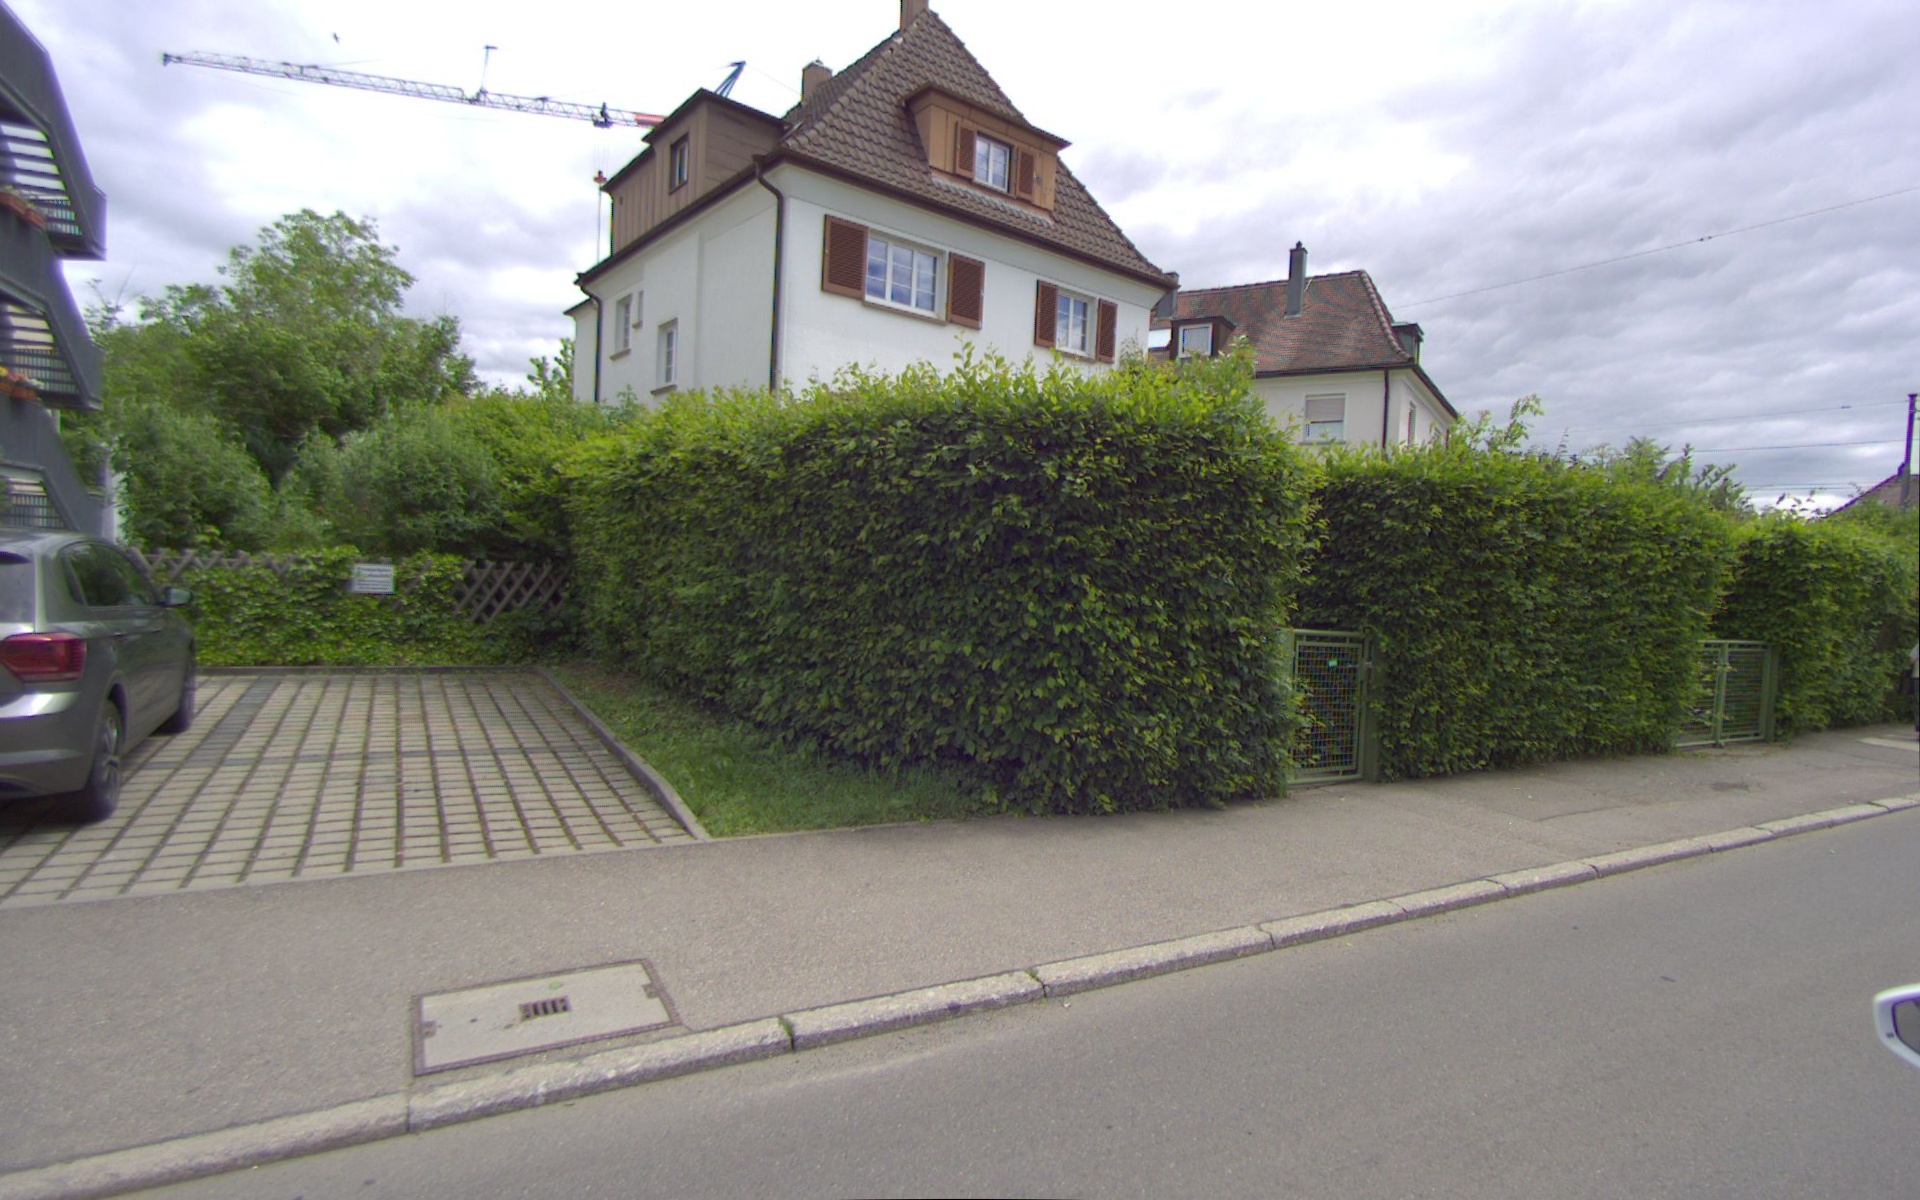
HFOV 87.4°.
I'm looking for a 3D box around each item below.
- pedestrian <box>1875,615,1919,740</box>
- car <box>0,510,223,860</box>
[{"bbox_3d":[12.016,0.979,12.431,0.865,1.505,0.453,6,4,39],"label":"pedestrian"},{"bbox_3d":[-5.582,0.250,5.655,1.796,1.453,3.654,3,3,-29],"label":"car"}]
